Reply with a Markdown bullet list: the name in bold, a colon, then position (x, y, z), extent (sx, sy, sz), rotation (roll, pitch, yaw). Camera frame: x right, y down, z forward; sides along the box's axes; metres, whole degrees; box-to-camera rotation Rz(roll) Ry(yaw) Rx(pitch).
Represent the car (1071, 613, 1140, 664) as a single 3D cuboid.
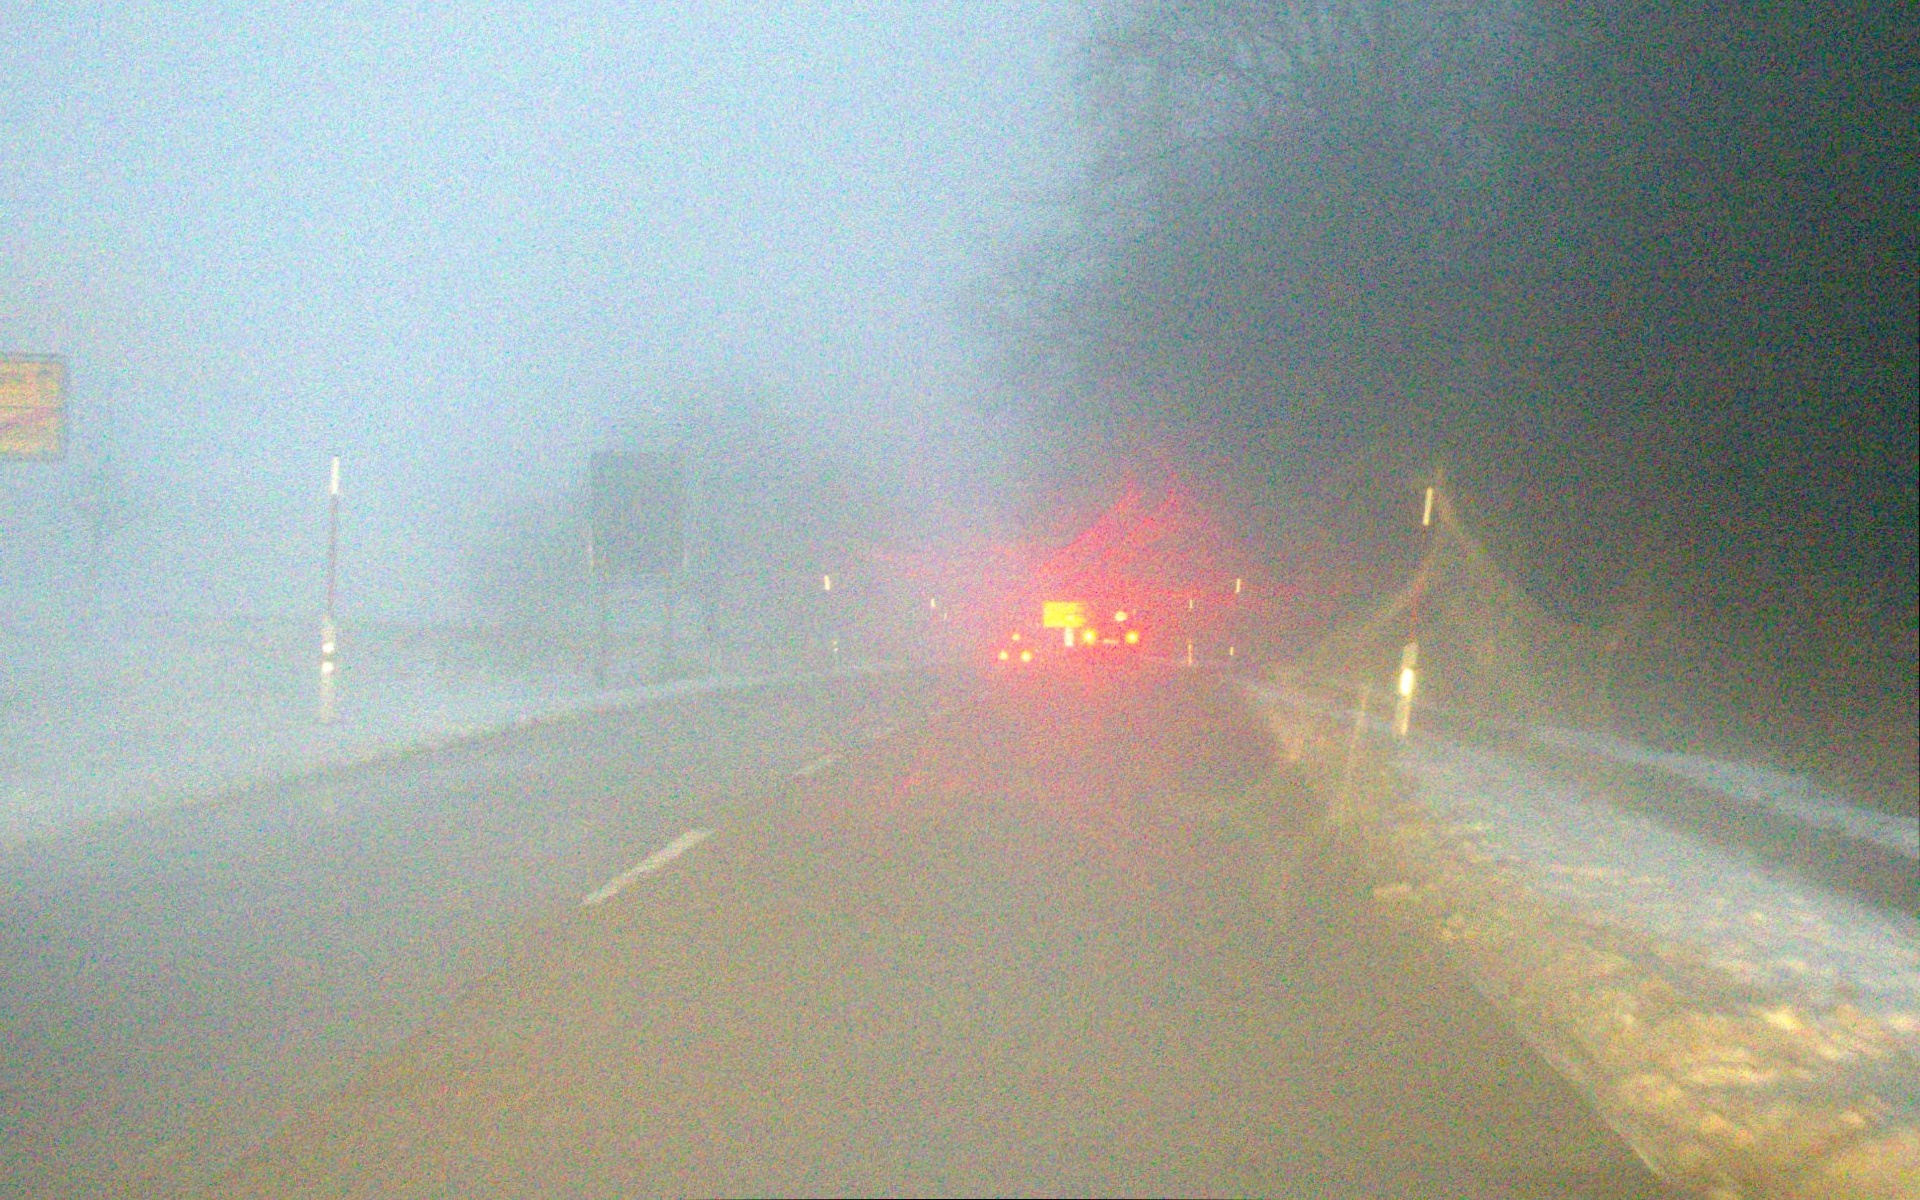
- **car**: position (4.392, 1.179, 104.484), extent (1.993, 1.415, 3.999), rotation (0, -2, 1)
